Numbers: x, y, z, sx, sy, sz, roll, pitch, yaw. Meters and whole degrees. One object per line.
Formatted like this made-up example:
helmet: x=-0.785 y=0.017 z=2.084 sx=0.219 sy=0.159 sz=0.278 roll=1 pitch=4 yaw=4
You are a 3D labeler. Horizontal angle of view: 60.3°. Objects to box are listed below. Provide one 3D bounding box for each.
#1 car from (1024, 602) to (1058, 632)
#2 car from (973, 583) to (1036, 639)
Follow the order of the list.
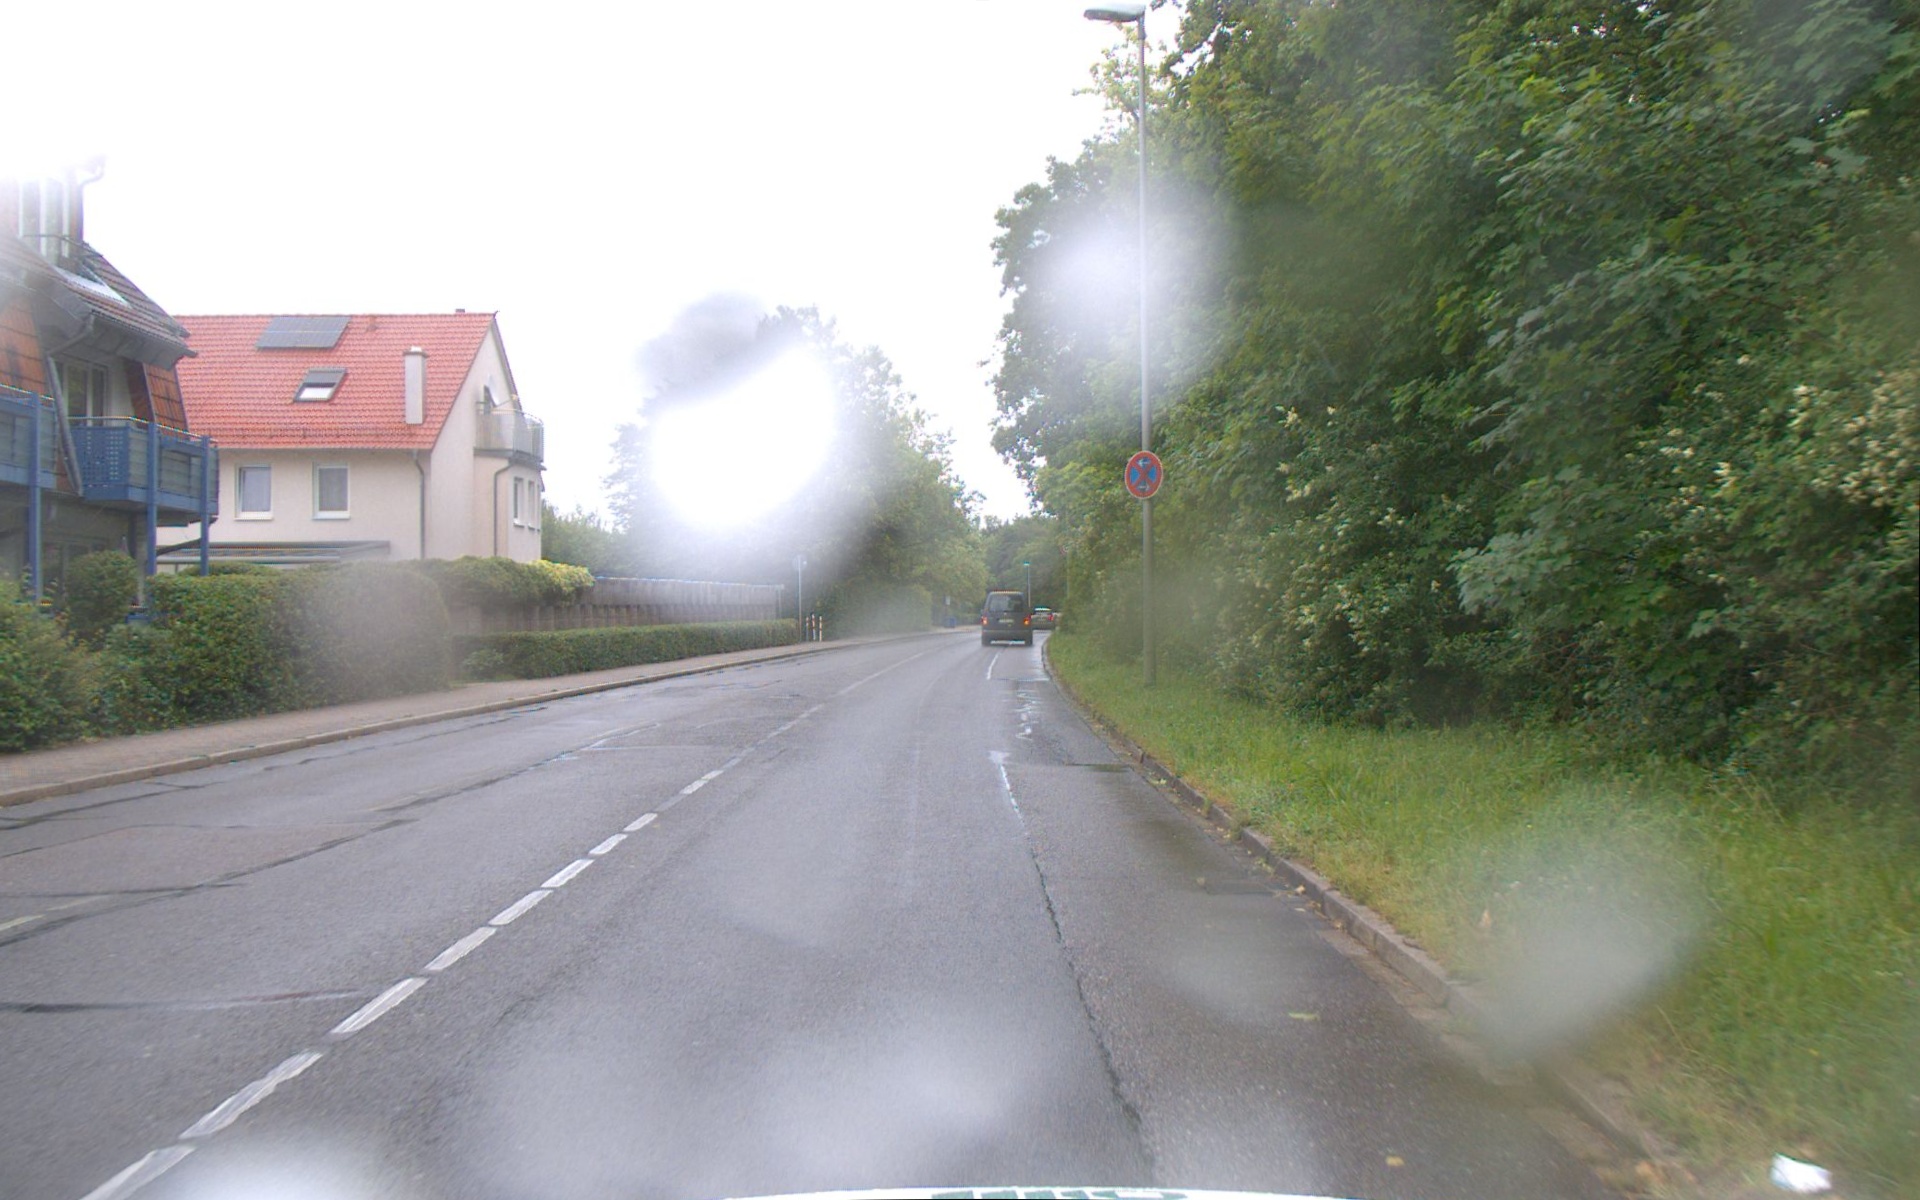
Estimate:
car: x=5.081 y=1.049 z=103.140 sx=1.909 sy=1.780 sz=4.003 roll=-1 pitch=1 yaw=5
car: x=1.604 y=0.350 z=58.333 sx=1.952 sy=1.825 sz=4.003 roll=2 pitch=1 yaw=4
